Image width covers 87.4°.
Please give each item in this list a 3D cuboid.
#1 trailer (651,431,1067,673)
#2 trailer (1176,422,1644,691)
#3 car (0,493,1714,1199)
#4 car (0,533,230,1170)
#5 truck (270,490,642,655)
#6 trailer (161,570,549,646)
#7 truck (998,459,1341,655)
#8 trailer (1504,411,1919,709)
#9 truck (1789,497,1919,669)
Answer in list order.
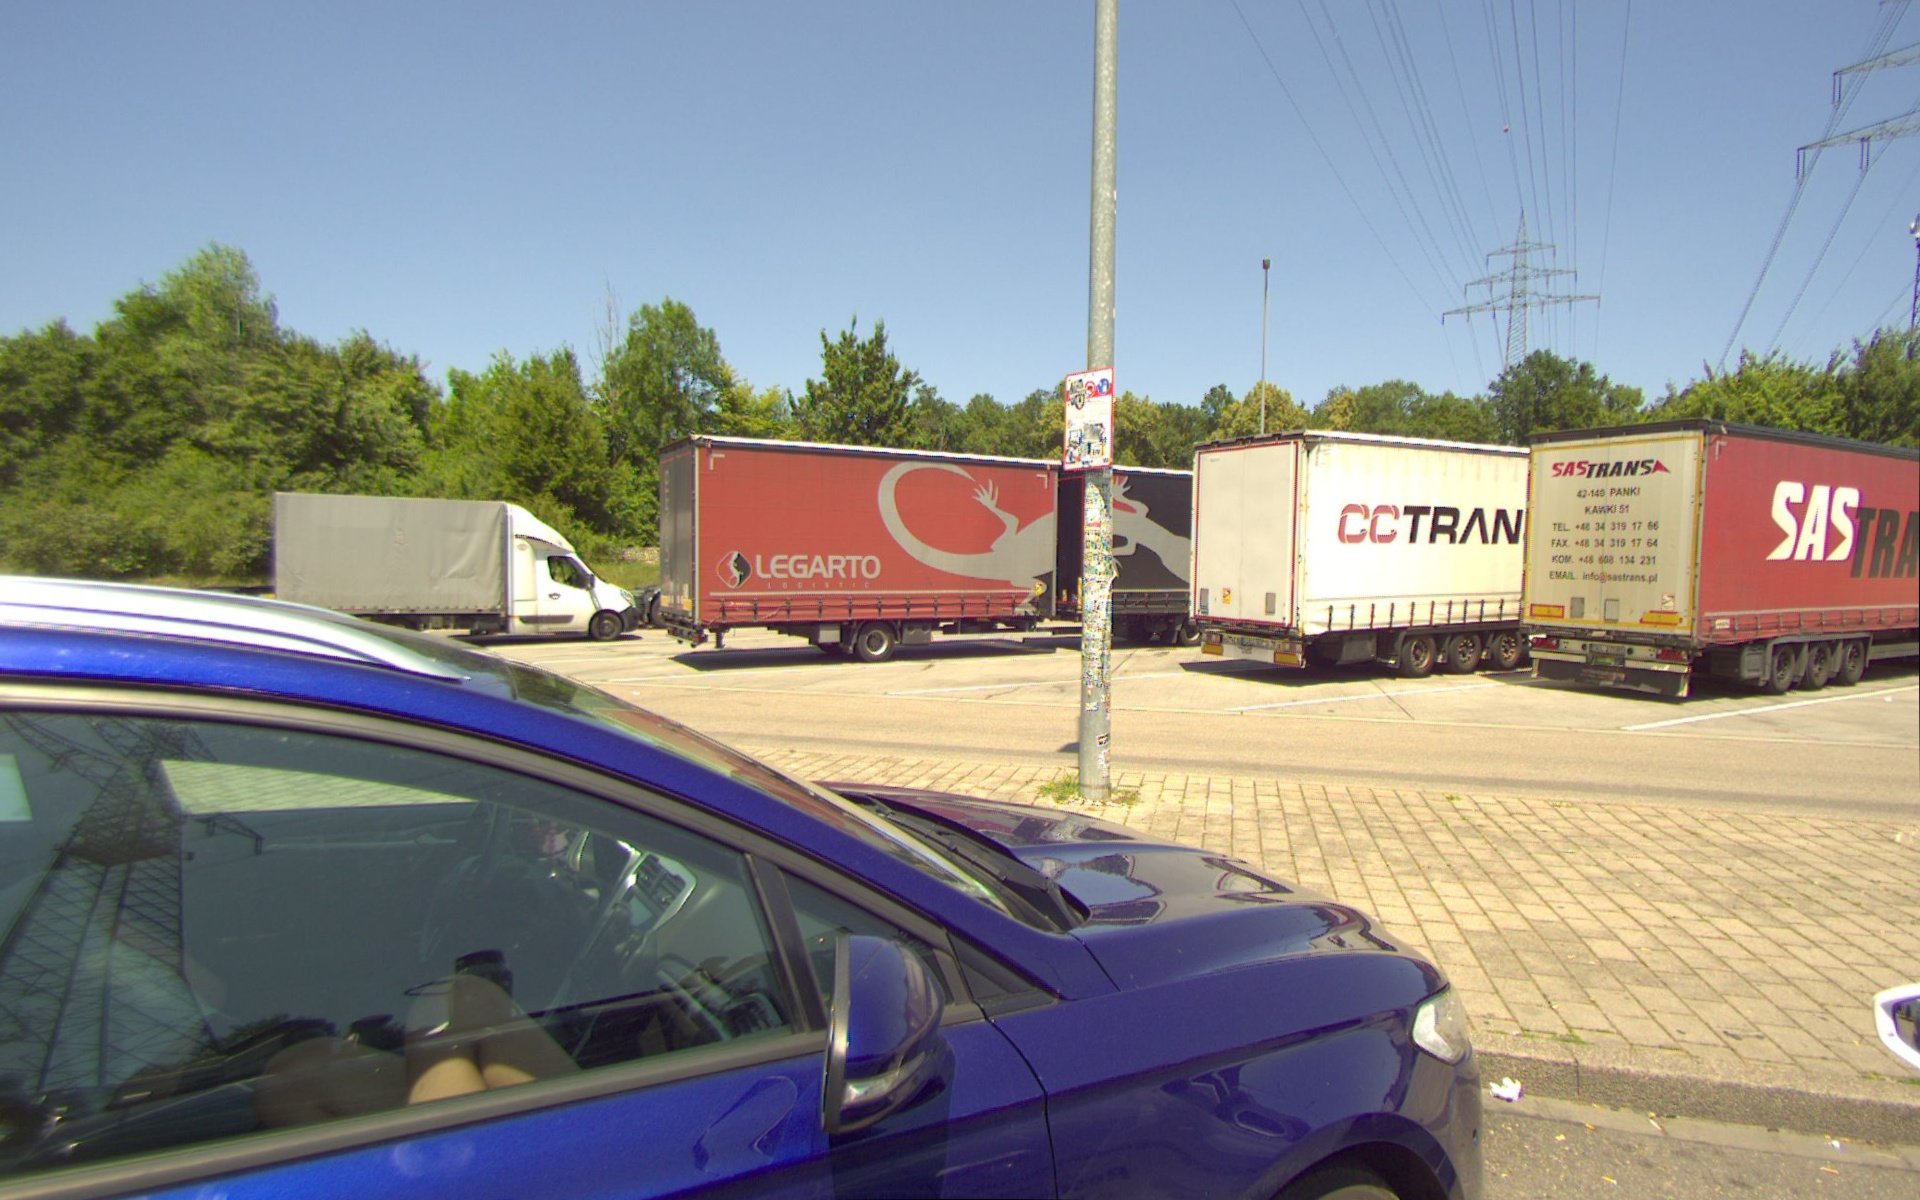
[{"bbox_3d":[-1.877,-0.905,20.326,8.007,4.127,2.693,-1,3,-30],"label":"trailer"},{"bbox_3d":[8.977,-0.771,19.344,10.264,4.158,2.693,-1,3,-30],"label":"trailer"},{"bbox_3d":[-0.962,0.651,1.447,4.522,1.491,1.743,0,2,-32],"label":"car"},{"bbox_3d":[-4.403,0.579,2.083,4.522,1.526,1.743,0,2,-32],"label":"car"},{"bbox_3d":[-11.236,-0.624,22.986,7.188,3.289,2.694,-1,3,-29],"label":"truck"},{"bbox_3d":[-14.748,0.103,25.224,8.007,1.648,2.199,-1,3,-31],"label":"trailer"},{"bbox_3d":[5.274,-1.000,24.537,8.586,4.127,2.693,-1,3,-30],"label":"truck"},{"bbox_3d":[15.471,-0.677,18.612,13.599,4.127,2.807,-1,3,-31],"label":"trailer"},{"bbox_3d":[21.262,-0.404,22.051,5.903,3.409,2.798,-1,3,-30],"label":"truck"}]
